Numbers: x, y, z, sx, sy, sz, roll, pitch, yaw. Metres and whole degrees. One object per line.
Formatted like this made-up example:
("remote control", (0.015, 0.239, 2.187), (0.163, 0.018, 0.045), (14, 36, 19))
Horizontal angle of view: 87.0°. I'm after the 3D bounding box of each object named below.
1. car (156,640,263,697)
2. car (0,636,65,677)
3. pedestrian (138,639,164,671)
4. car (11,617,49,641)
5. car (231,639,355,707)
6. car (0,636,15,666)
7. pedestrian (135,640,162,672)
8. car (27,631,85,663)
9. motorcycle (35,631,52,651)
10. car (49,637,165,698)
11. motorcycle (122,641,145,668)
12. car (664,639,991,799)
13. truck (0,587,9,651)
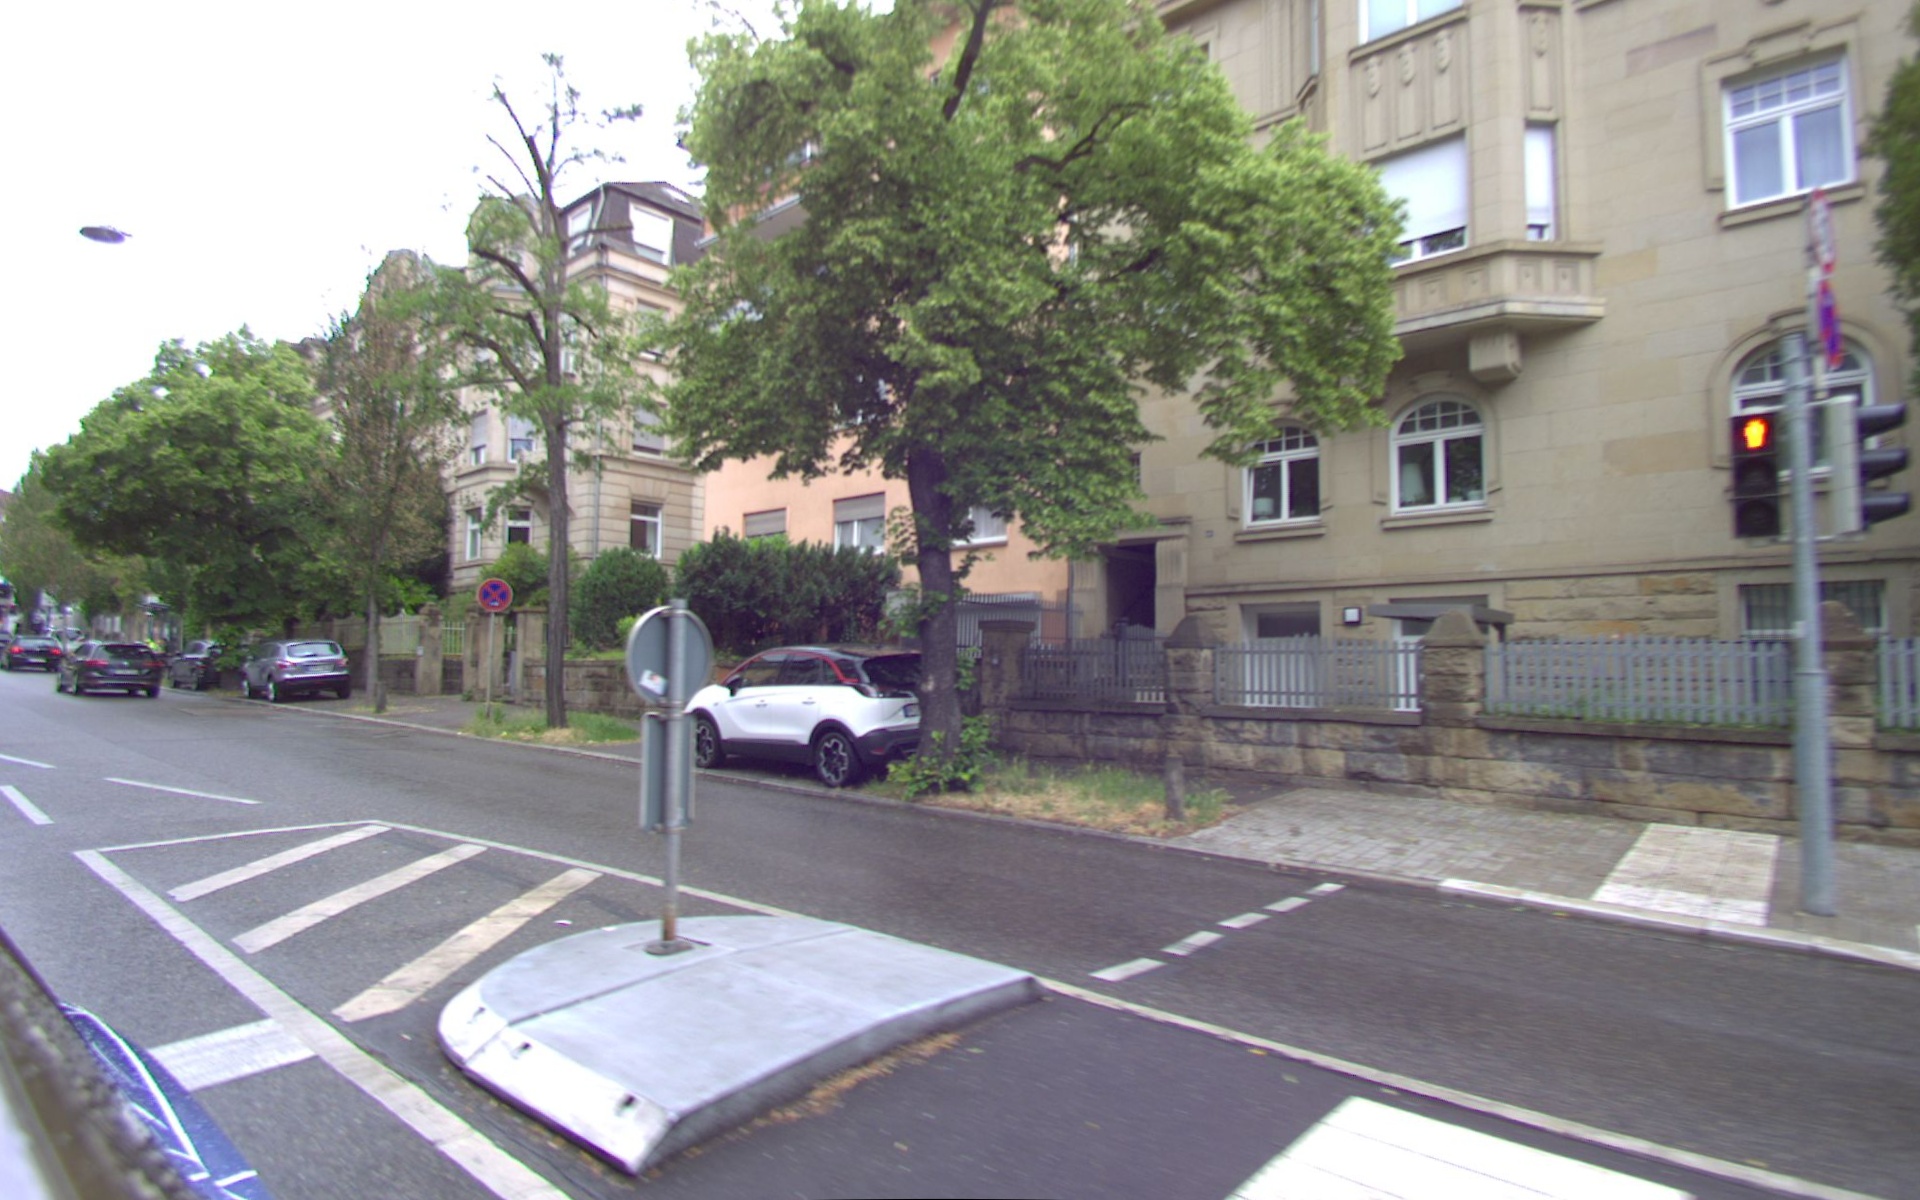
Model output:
("car", (-24.112, 2.149, 32.460), (4.297, 1.571, 1.724), (0, 0, 39))
("car", (-39.026, 2.374, 42.412), (4.589, 1.529, 1.753), (-5, -5, 42))
("pedestrian", (-37.184, 2.543, 46.521), (0.649, 1.443, 0.757), (-1, -4, 44))
("car", (-67.438, 2.083, 73.342), (1.972, 1.608, 3.831), (0, 0, -43))
("car", (-17.888, 1.878, 27.086), (4.301, 1.571, 1.723), (0, -1, 42))
("car", (-50.594, 2.576, 52.466), (4.745, 1.479, 1.753), (-1, -5, 41))
("pedestrian", (-37.643, 2.607, 46.946), (0.759, 1.443, 0.758), (0, -4, 42))
("car", (-49.598, 2.542, 55.519), (4.298, 1.571, 1.724), (0, -1, 40))
("motorcycle", (-58.325, 2.611, 64.411), (0.648, 1.245, 1.983), (5, -4, -45))
("car", (-23.367, 1.826, 27.660), (4.548, 1.529, 1.795), (-2, -6, 43))
("motorcycle", (-41.292, 2.721, 50.536), (0.648, 1.246, 1.763), (5, -4, -45))
("car", (-1.799, 1.341, 12.782), (4.301, 1.571, 1.723), (0, -1, 42))
("truck", (-62.356, 1.118, 64.066), (2.617, 3.884, 9.312), (7, -6, -44))
